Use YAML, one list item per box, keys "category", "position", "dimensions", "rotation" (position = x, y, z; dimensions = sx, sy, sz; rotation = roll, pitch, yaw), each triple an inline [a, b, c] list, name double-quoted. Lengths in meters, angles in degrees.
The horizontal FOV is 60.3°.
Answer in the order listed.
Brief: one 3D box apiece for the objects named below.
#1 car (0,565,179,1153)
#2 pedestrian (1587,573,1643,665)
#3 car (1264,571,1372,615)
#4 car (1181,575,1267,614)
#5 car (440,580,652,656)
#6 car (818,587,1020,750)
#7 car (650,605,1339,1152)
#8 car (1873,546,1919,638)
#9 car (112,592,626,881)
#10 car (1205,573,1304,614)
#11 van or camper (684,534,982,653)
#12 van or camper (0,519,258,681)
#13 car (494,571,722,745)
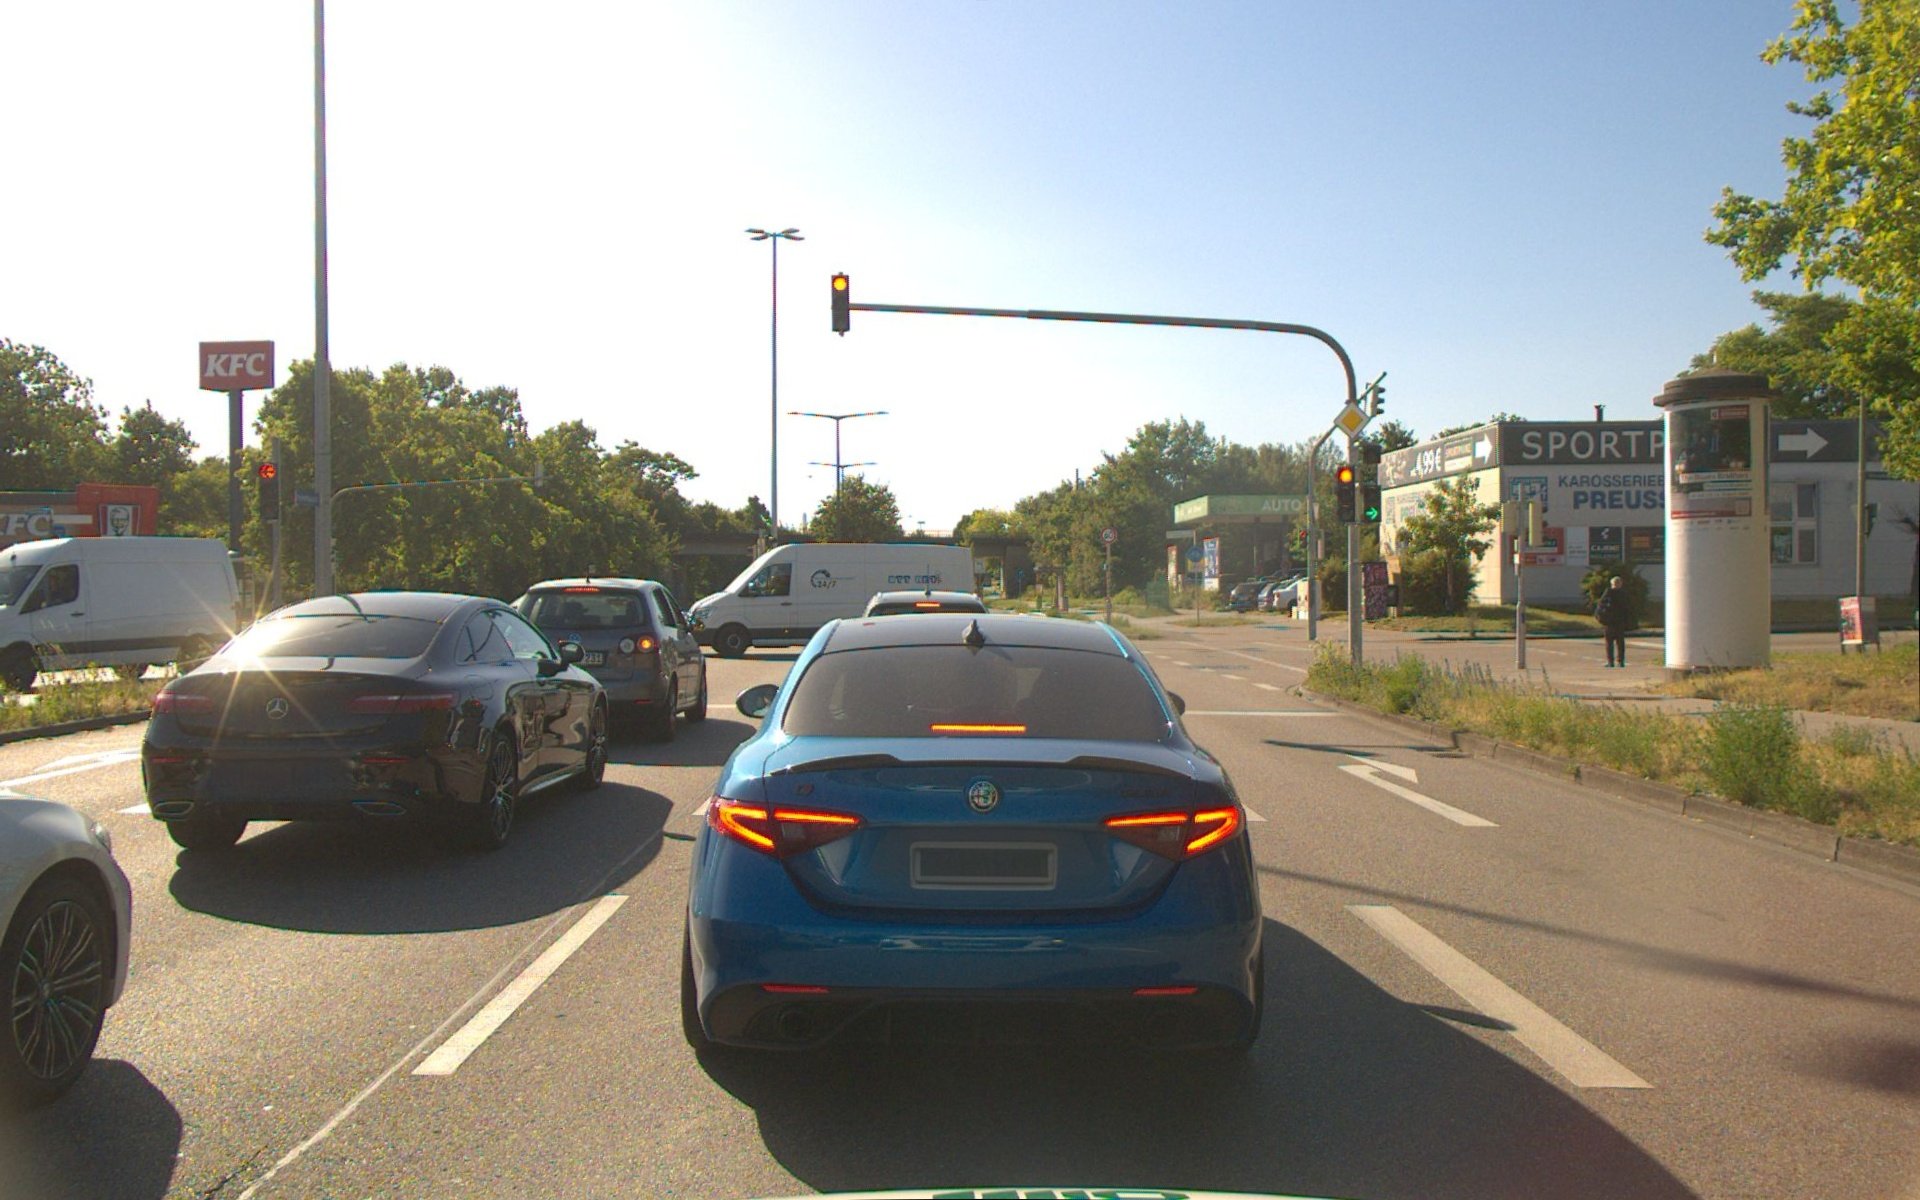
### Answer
- category: "car"
  position: [-3.354, 0.686, 3.080]
  dimensions: [1.732, 1.535, 4.460]
  rotation: [0, 0, -1]
- category: "pedestrian"
  position: [12.671, 0.358, 32.012]
  dimensions: [0.805, 1.752, 0.854]
  rotation: [0, 0, 6]
- category: "car"
  position: [14.334, -0.277, 66.308]
  dimensions: [3.924, 1.736, 1.687]
  rotation: [0, 0, -17]
- category: "car"
  position: [11.866, -0.261, 74.317]
  dimensions: [3.428, 1.736, 1.688]
  rotation: [0, 0, -17]
- category: "car"
  position: [-9.656, 0.390, 38.587]
  dimensions: [4.540, 1.682, 1.984]
  rotation: [0, 0, -25]
- category: "car"
  position: [-0.399, 0.612, 17.039]
  dimensions: [1.828, 1.475, 3.931]
  rotation: [0, 0, -1]
- category: "car"
  position: [0.067, 0.750, 6.374]
  dimensions: [1.828, 1.409, 3.931]
  rotation: [0, 0, -1]
- category: "car"
  position: [25.002, -0.197, 40.455]
  dimensions: [4.318, 2.183, 1.998]
  rotation: [0, 0, -4]
- category: "car"
  position: [-3.419, 0.673, 10.553]
  dimensions: [1.732, 1.439, 4.460]
  rotation: [0, 0, -1]
- category: "car"
  position: [12.661, -0.267, 71.138]
  dimensions: [3.928, 1.736, 1.686]
  rotation: [0, 0, -20]
- category: "van or camper"
  position: [-2.957, -0.166, 38.198]
  dimensions: [6.617, 2.617, 2.177]
  rotation: [0, 0, -14]
- category: "van or camper"
  position: [-15.874, -0.022, 30.117]
  dimensions: [1.954, 2.697, 5.952]
  rotation: [0, 0, 25]
- category: "car"
  position: [-3.583, 0.527, 17.458]
  dimensions: [1.615, 1.626, 3.931]
  rotation: [0, 0, -1]
